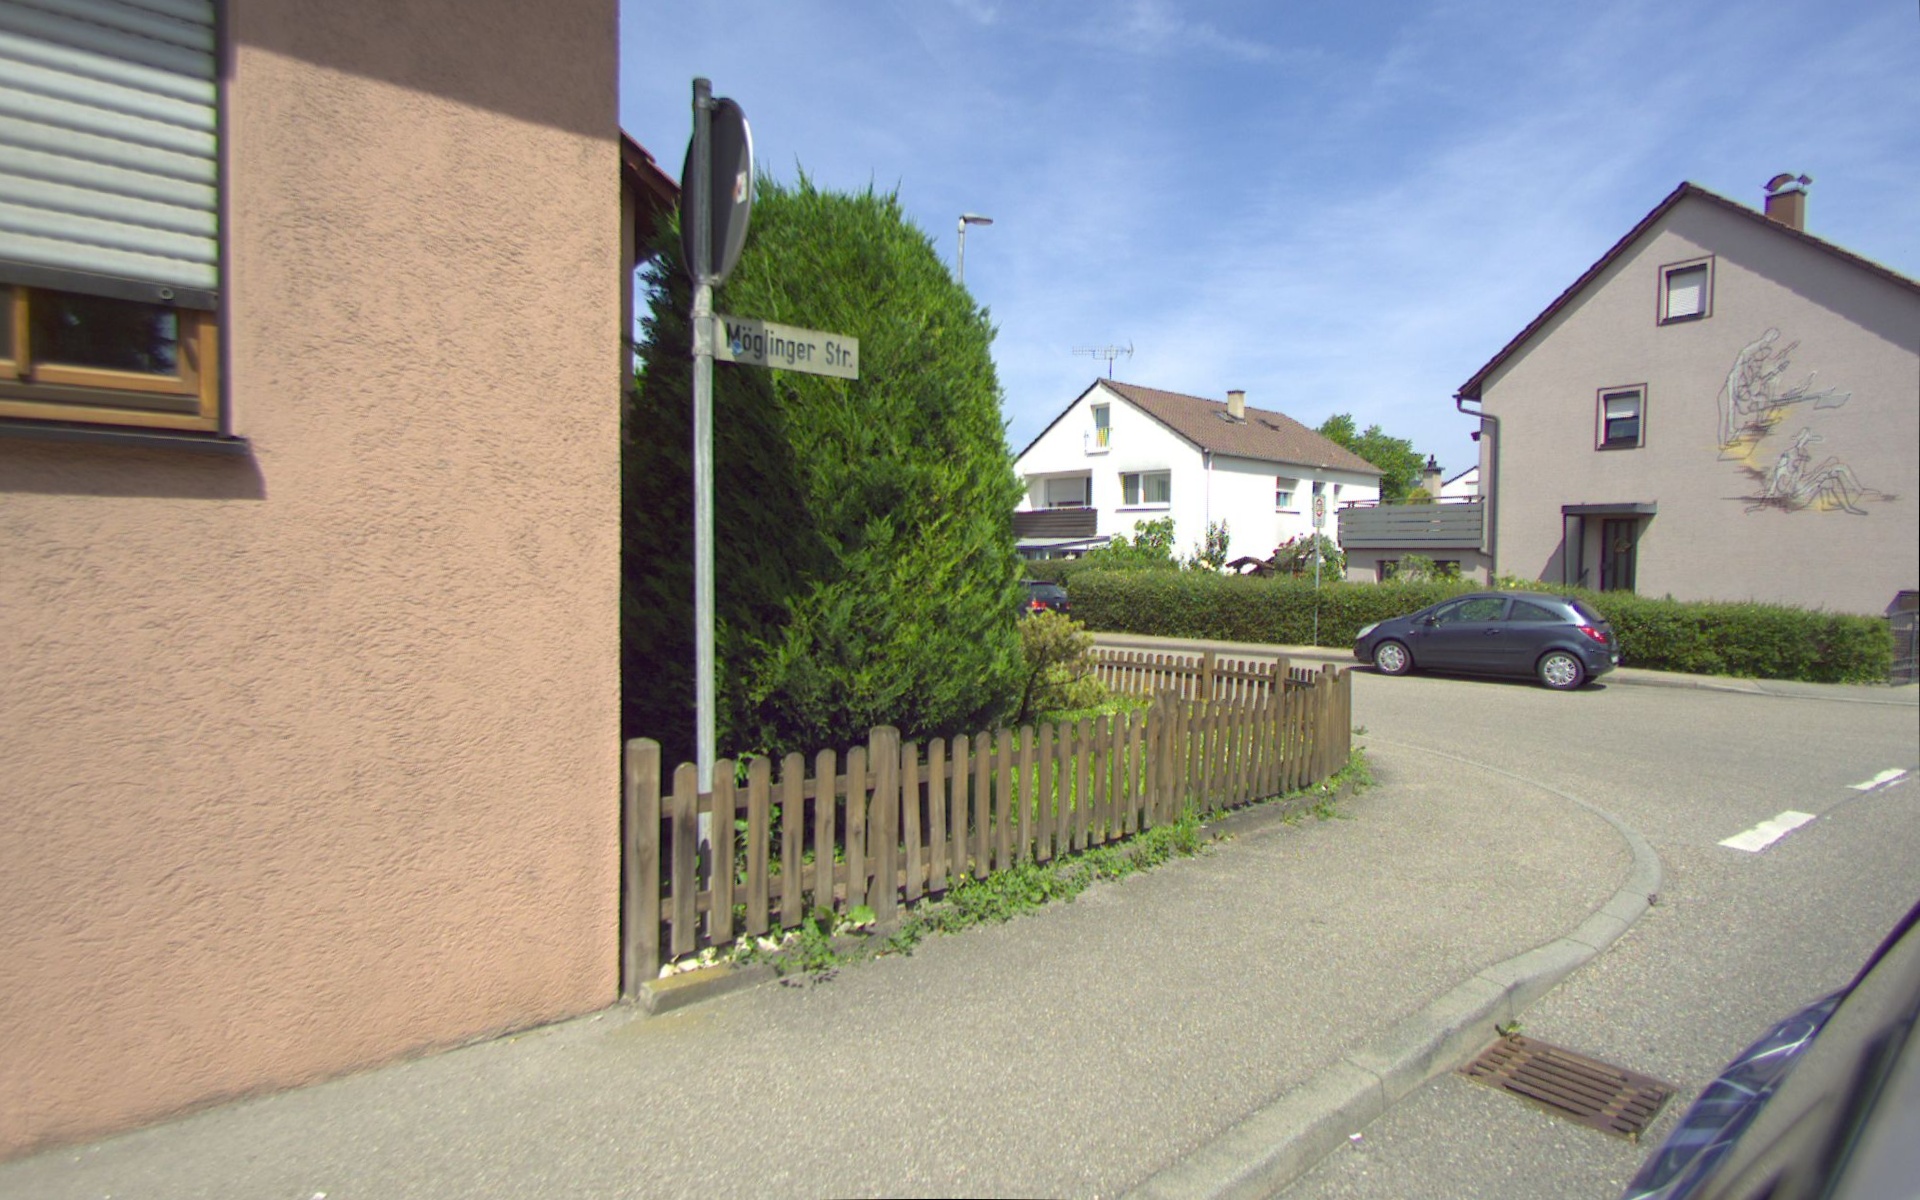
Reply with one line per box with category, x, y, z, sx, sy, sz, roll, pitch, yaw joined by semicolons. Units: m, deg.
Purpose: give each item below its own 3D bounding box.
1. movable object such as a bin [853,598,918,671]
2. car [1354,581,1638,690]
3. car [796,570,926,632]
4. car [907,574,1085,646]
movable object such as a bin;-1.177;0.531;16.161;0.496;1.109;0.999;2;1;36
car;8.759;0.479;16.694;3.802;1.506;1.861;2;2;42
car;-2.734;0.001;27.519;3.433;1.553;1.623;2;1;42
car;0.788;0.180;23.688;3.893;1.507;1.827;2;1;42
